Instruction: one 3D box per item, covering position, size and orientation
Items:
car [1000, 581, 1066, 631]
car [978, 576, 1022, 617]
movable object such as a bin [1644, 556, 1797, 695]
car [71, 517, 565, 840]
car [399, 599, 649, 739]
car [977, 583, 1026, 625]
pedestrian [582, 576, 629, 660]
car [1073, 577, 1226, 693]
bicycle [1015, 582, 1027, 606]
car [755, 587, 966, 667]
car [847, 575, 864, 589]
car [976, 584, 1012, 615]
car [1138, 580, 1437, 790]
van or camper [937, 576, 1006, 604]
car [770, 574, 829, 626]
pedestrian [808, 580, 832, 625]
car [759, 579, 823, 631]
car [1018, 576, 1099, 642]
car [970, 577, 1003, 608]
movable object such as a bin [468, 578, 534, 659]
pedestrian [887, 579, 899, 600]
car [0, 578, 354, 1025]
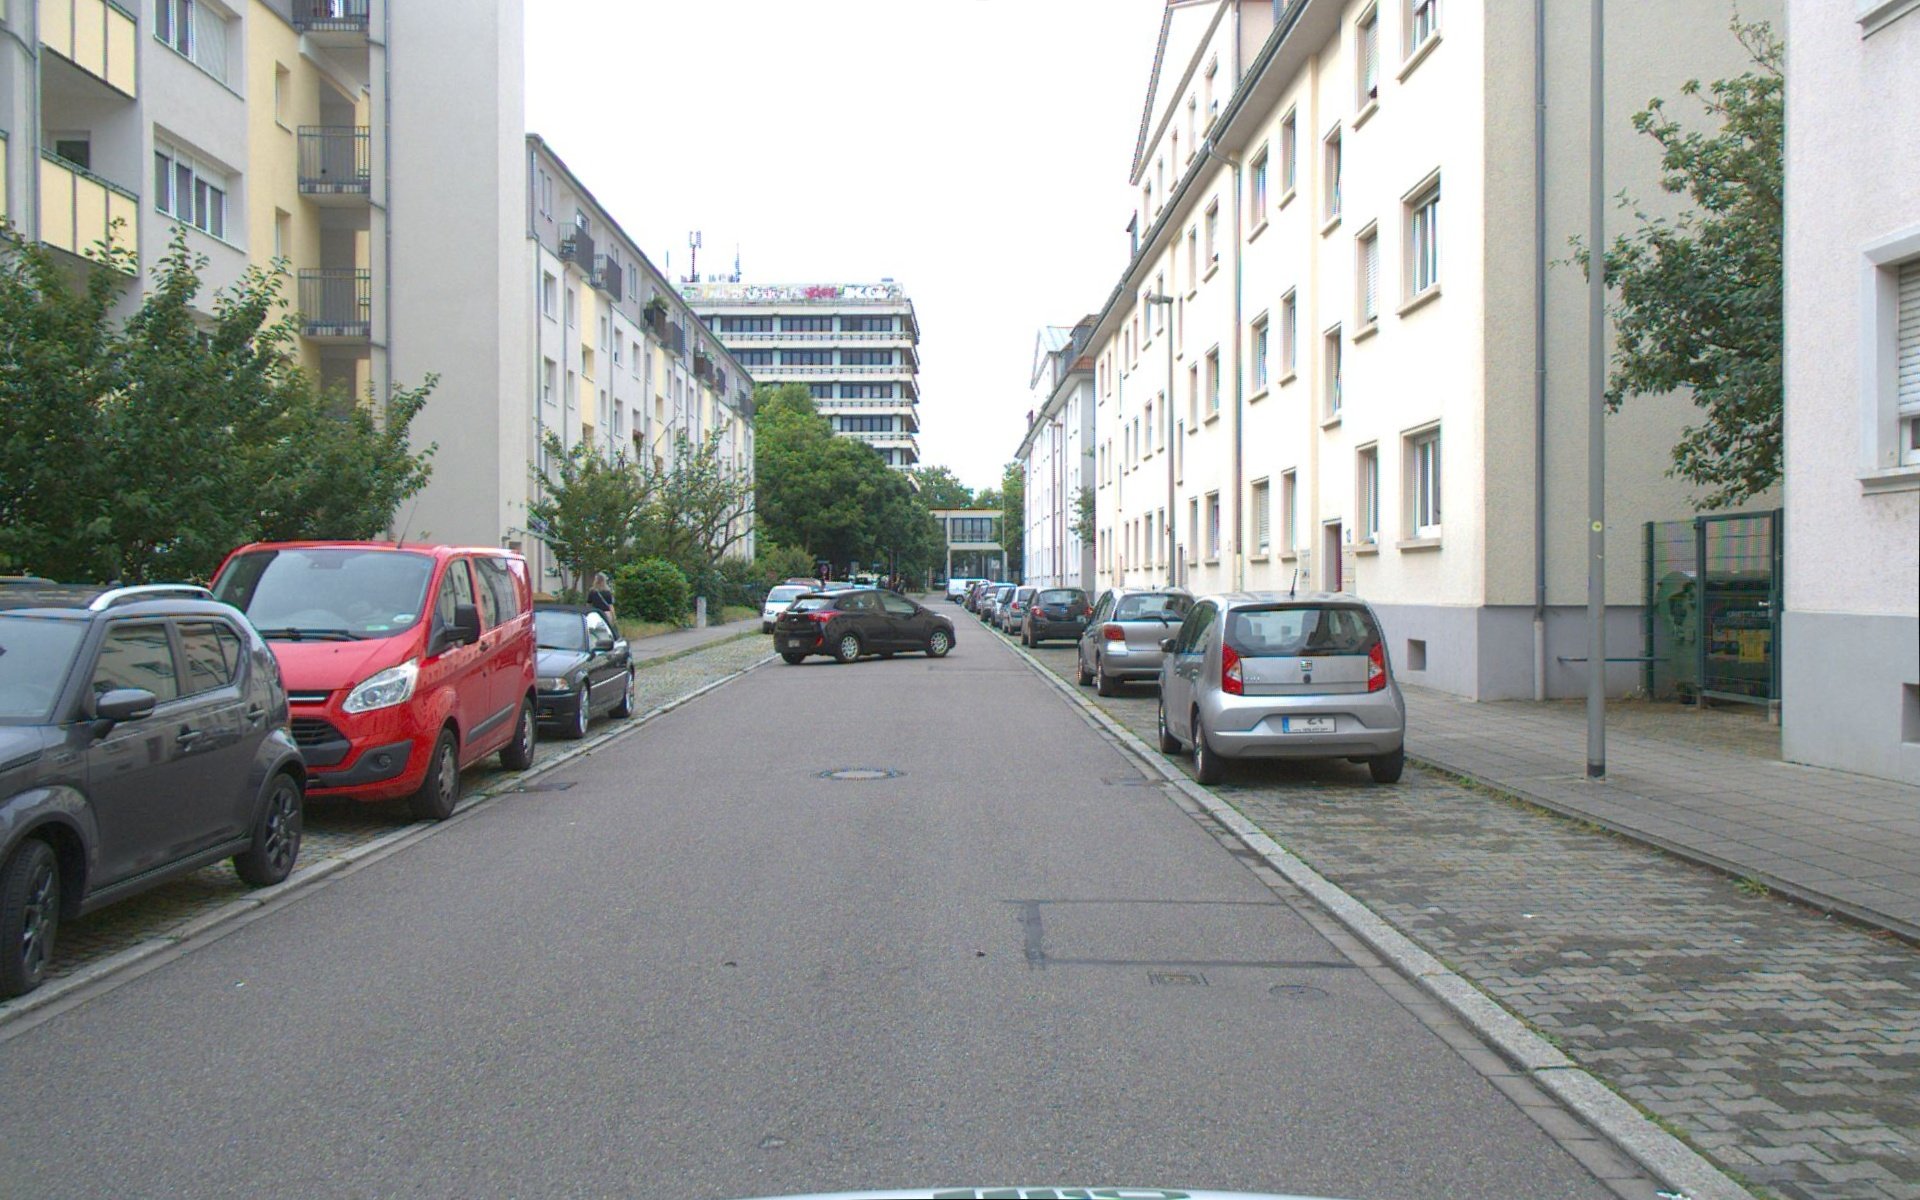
[{"bbox_3d":[2.251,0.156,51.738,1.811,1.475,3.832,-1,1,-1],"label":"car"},{"bbox_3d":[1.695,-0.177,70.690,1.783,1.671,4.091,0,1,0],"label":"car"},{"bbox_3d":[8.339,0.265,18.186,1.138,1.469,1.149,-1,1,-1],"label":"movable object such as a bin"},{"bbox_3d":[-4.625,0.473,12.880,2.108,1.988,4.919,1,1,-3],"label":"car"},{"bbox_3d":[-4.825,0.701,18.937,1.832,1.346,4.360,1,1,-2],"label":"car"},{"bbox_3d":[1.522,0.114,62.013,1.690,1.502,4.504,0,1,-1],"label":"car"},{"bbox_3d":[-7.143,0.352,33.350,0.784,1.638,0.946,-1,1,-5],"label":"pedestrian"},{"bbox_3d":[2.716,0.452,24.503,1.690,1.544,4.060,-1,1,-1],"label":"car"},{"bbox_3d":[3.163,-0.323,85.449,0.519,1.196,2.038,-2,1,5],"label":"bicycle"},{"bbox_3d":[-1.976,0.505,33.744,1.875,1.458,4.207,0,1,42],"label":"car"},{"bbox_3d":[-10.960,-1.903,173.084,1.632,1.356,3.395,0,1,-1],"label":"car"},{"bbox_3d":[1.757,-0.057,86.842,1.783,1.529,4.091,-1,1,0],"label":"car"},{"bbox_3d":[2.654,0.606,14.325,1.690,1.518,4.060,-1,1,-1],"label":"car"},{"bbox_3d":[0.852,-0.786,126.469,5.070,2.049,1.998,-1,0,-5],"label":"van or camper"},{"bbox_3d":[-5.747,-0.034,59.495,1.917,1.801,4.359,0,1,-3],"label":"car"},{"bbox_3d":[-5.476,0.093,64.654,0.729,1.731,0.792,-1,0,-18],"label":"pedestrian"},{"bbox_3d":[-5.448,0.139,53.615,1.685,1.597,3.870,1,1,-1],"label":"car"},{"bbox_3d":[2.419,0.185,41.389,1.690,1.544,4.060,-1,1,-1],"label":"car"},{"bbox_3d":[1.449,-0.429,91.947,1.783,1.631,4.091,-1,1,0],"label":"car"},{"bbox_3d":[-8.398,0.323,30.327,0.787,1.454,1.288,0,0,3],"label":"movable object such as a bin"},{"bbox_3d":[-5.365,-0.839,132.188,0.952,1.683,0.980,-1,0,-2],"label":"pedestrian"},{"bbox_3d":[-4.361,0.717,7.601,1.685,1.597,4.053,1,1,-1],"label":"car"}]
